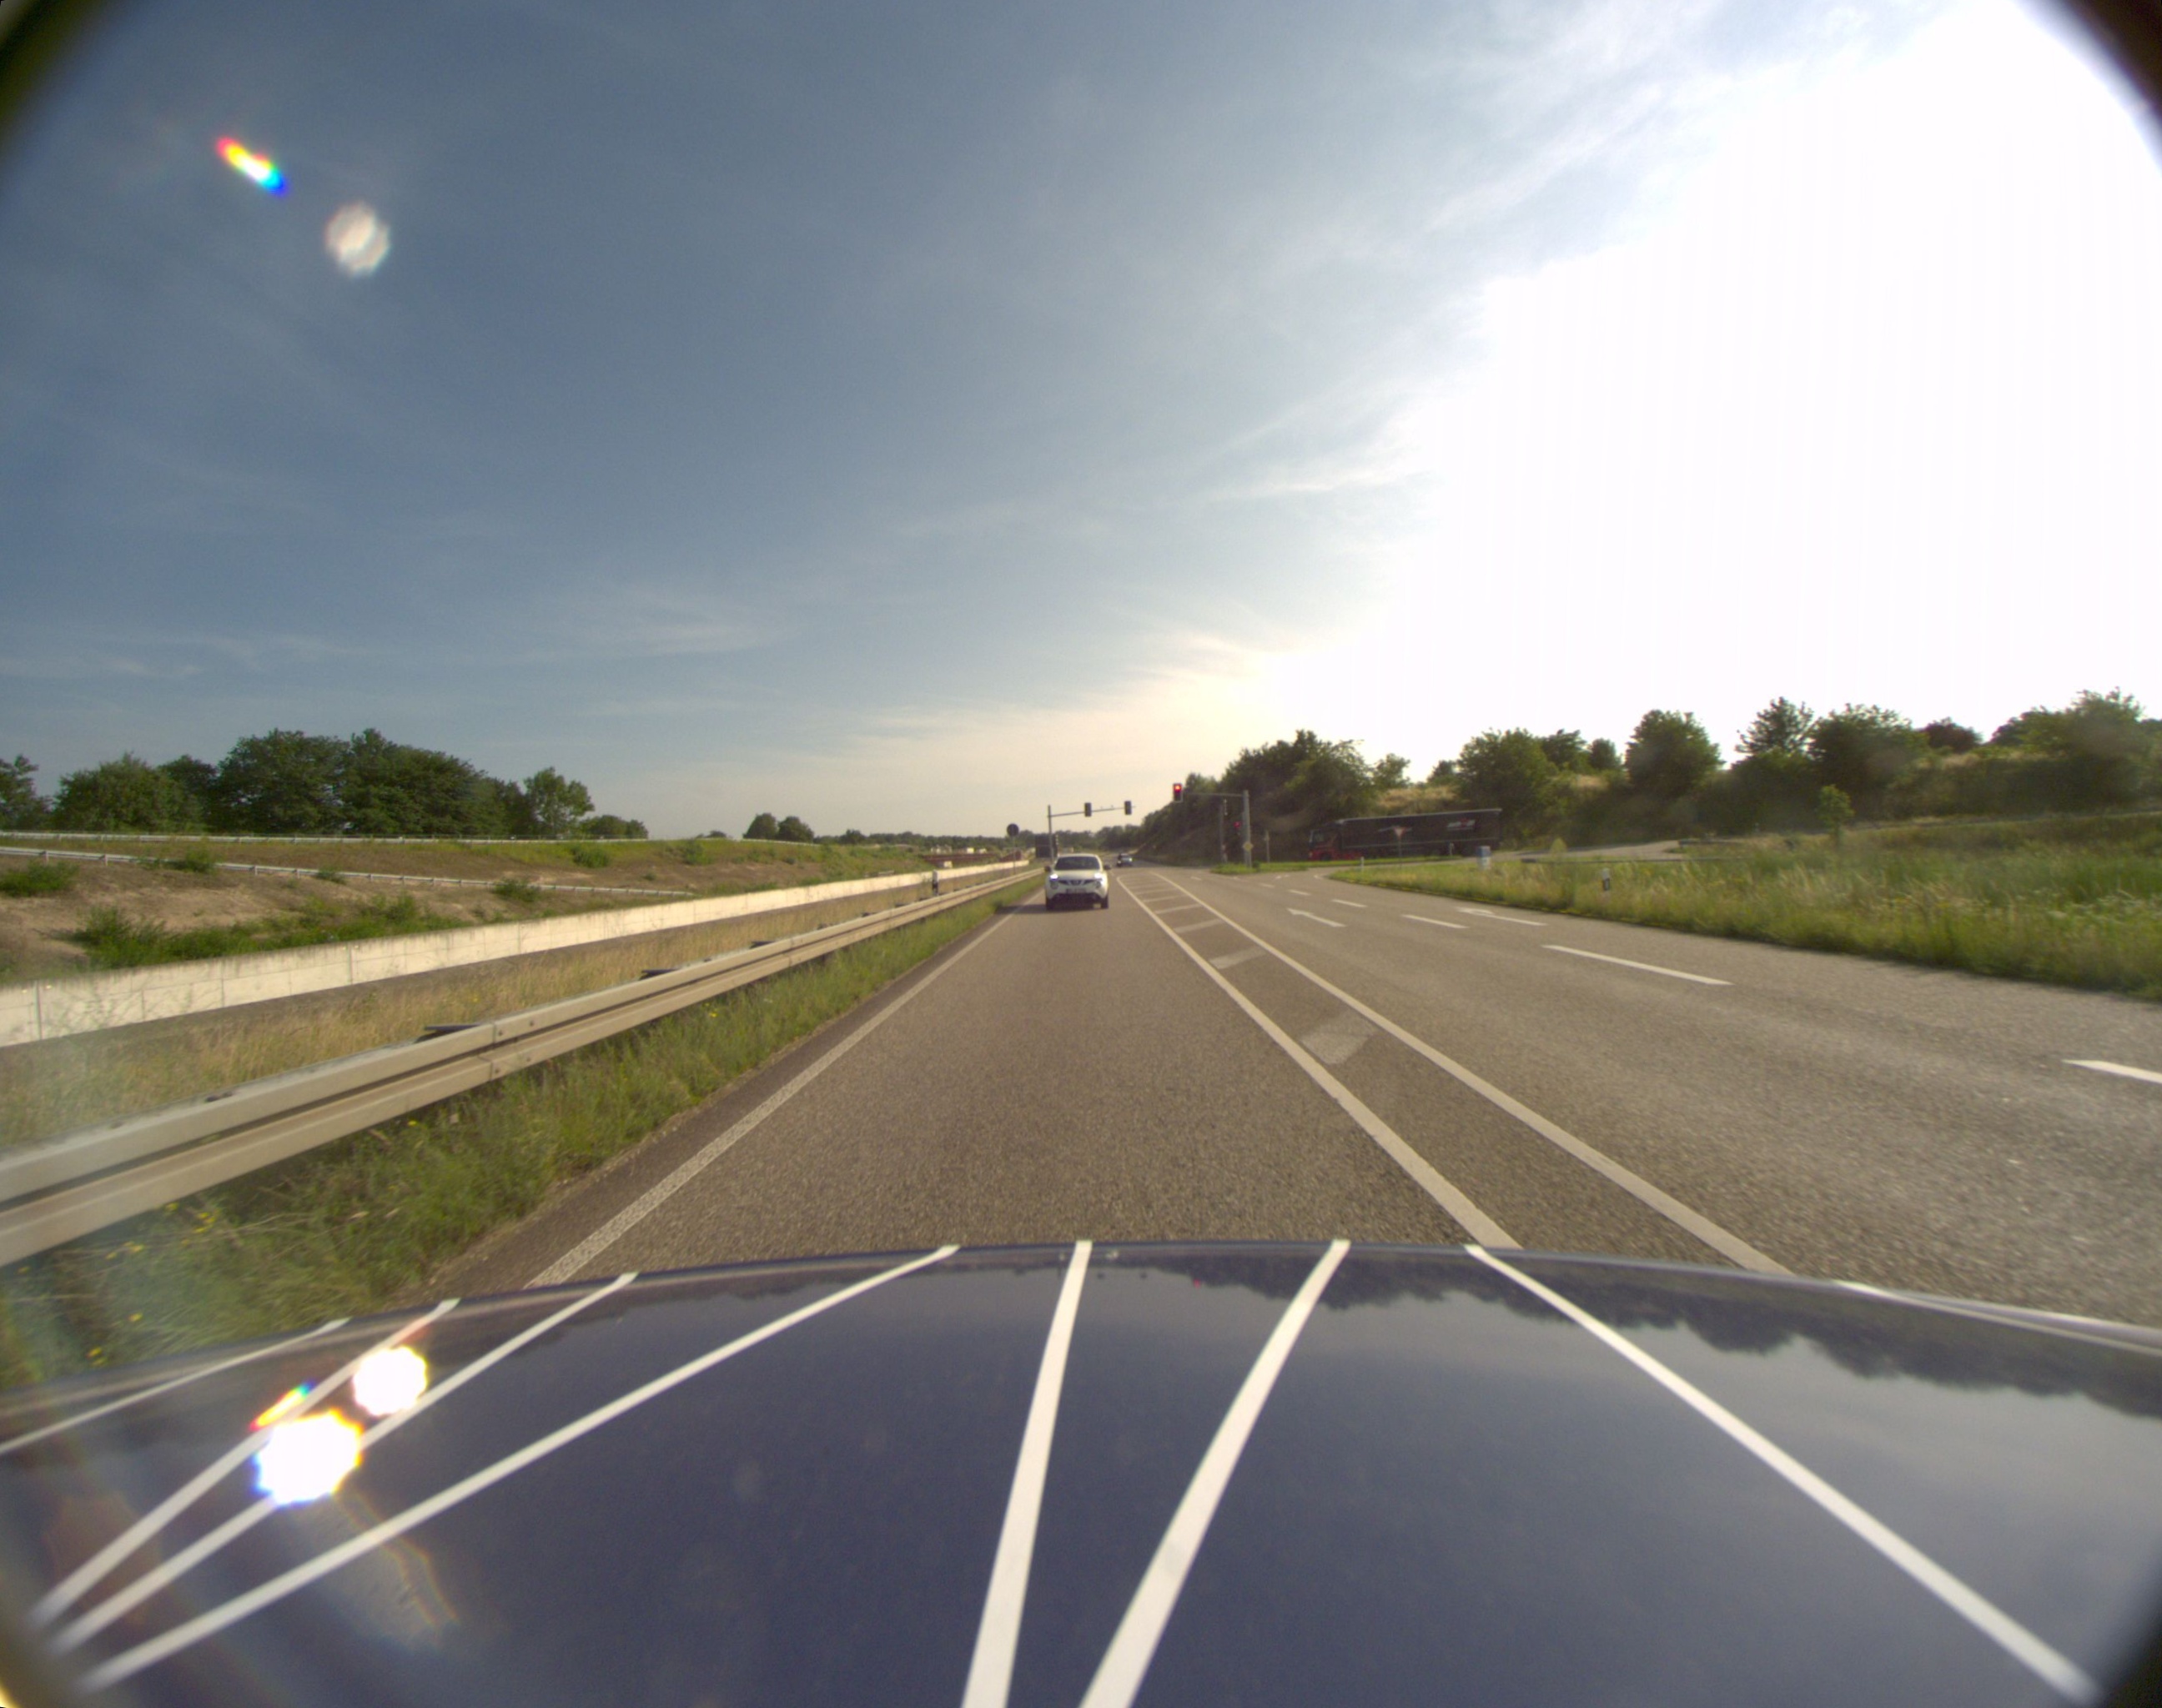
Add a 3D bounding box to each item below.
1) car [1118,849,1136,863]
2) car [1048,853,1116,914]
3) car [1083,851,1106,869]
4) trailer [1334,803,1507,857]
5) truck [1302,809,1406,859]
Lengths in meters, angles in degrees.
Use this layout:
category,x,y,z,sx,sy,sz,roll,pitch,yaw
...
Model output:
category,x,y,z,sx,sy,sz,roll,pitch,yaw
car,5.556,0.248,91.517,1.998,1.602,4.198,-2,1,5
car,-0.068,0.781,22.738,1.789,1.593,4.570,-2,0,-3
car,1.215,0.515,69.571,1.908,1.512,4.464,-2,1,-1
trailer,30.411,-2.071,68.859,13.778,4.090,3.561,-3,1,10
truck,24.929,-1.826,69.837,8.388,4.090,3.561,-3,1,10
